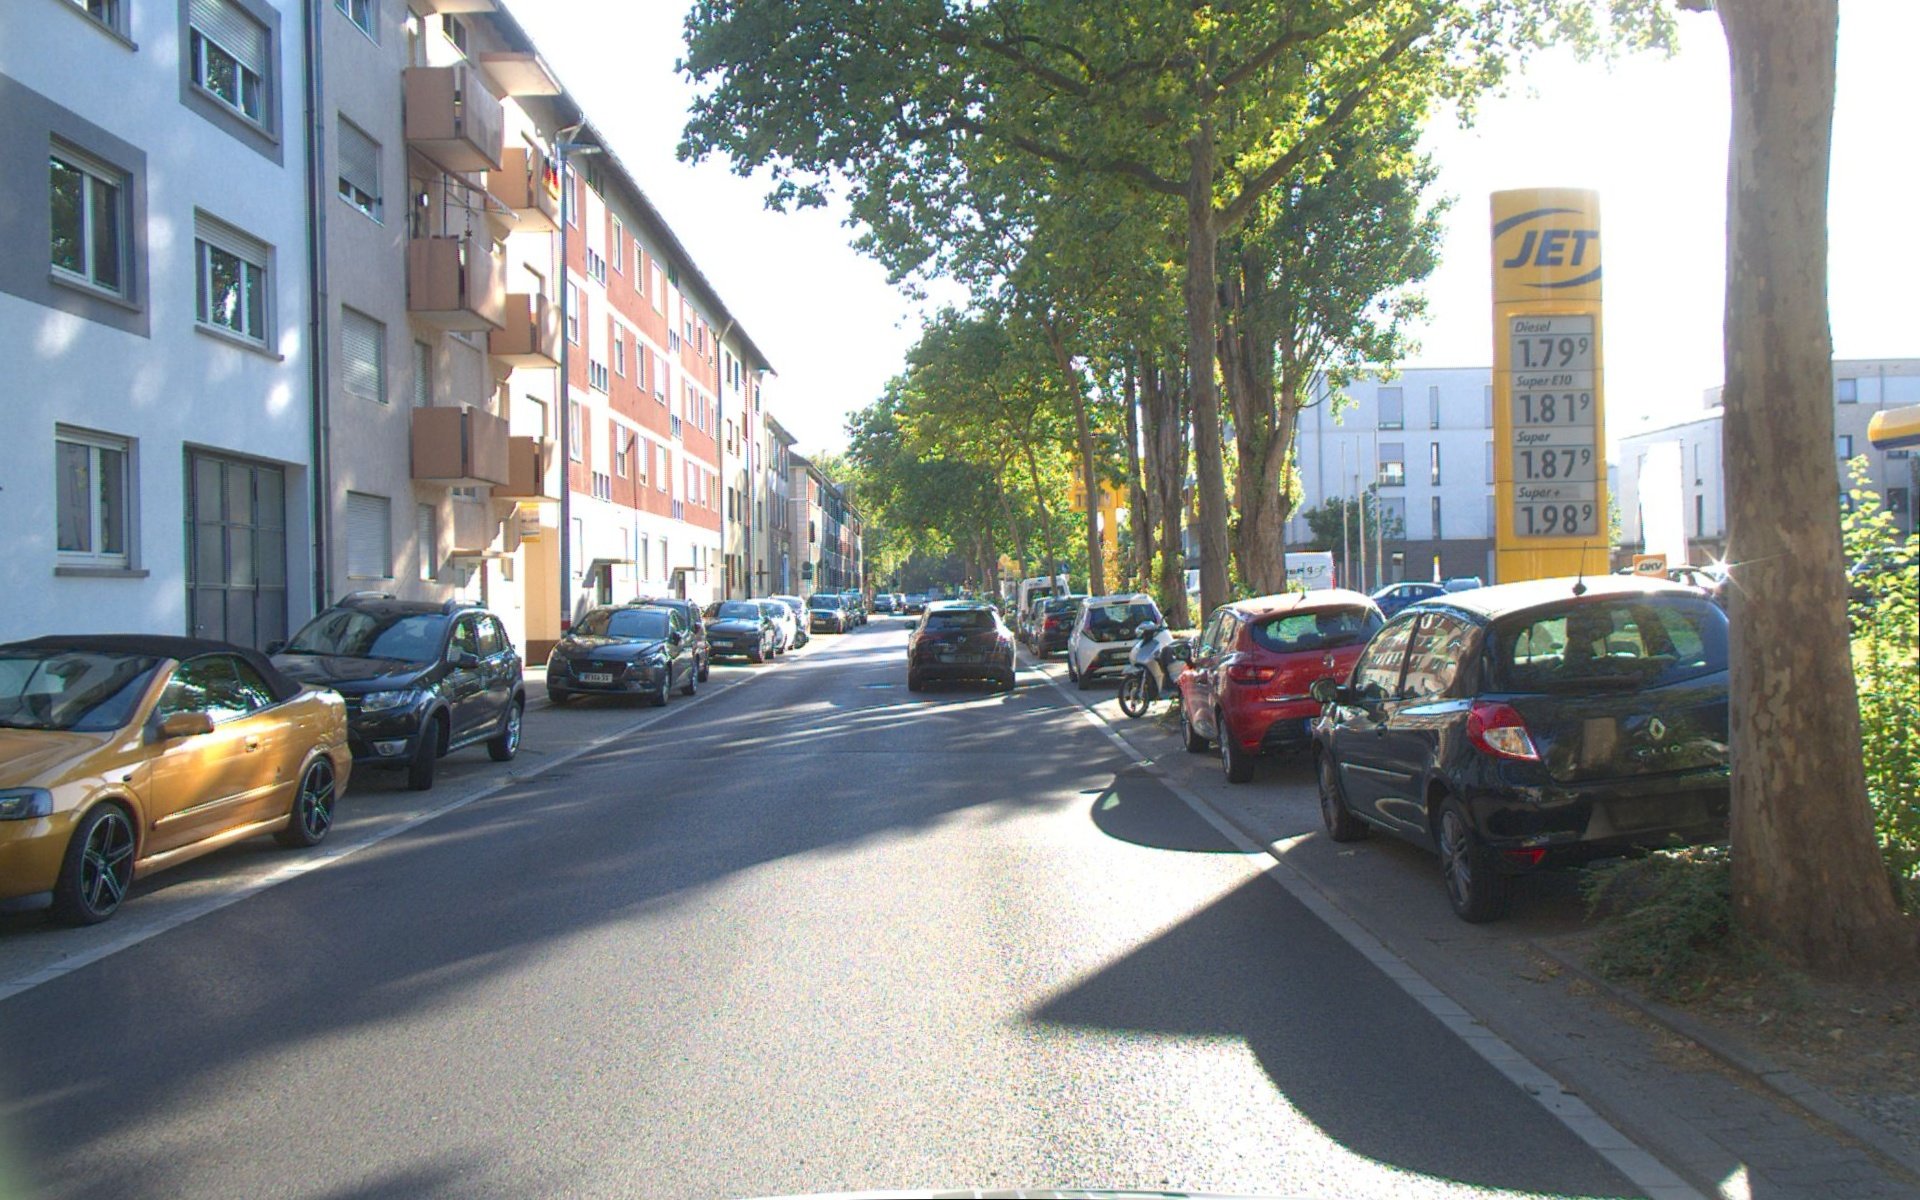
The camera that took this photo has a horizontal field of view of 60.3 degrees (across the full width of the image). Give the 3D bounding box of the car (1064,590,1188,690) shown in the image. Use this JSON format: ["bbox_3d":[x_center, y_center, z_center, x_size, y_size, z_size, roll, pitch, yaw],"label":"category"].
[{"bbox_3d":[2.750,0.643,28.113,1.687,1.585,3.600,0,0,-1],"label":"car"}]

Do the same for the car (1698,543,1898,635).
[{"bbox_3d":[17.369,-0.231,34.263,3.781,1.741,1.824,-2,0,-28],"label":"car"}]

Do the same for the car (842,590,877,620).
[{"bbox_3d":[-5.614,0.278,92.663,1.677,1.589,3.801,2,0,0],"label":"car"}]

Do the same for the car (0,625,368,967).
[{"bbox_3d":[-5.033,0.926,9.661,1.563,1.459,4.217,0,0,1],"label":"car"}]

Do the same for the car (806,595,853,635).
[{"bbox_3d":[-5.602,0.618,71.370,1.677,1.589,3.801,2,0,0],"label":"car"}]

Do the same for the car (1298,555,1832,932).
[{"bbox_3d":[2.992,0.630,8.960,1.528,1.624,3.600,0,0,-1],"label":"car"}]

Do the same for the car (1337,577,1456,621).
[{"bbox_3d":[16.078,-0.027,61.042,3.906,1.556,1.806,-1,-1,-2],"label":"car"}]

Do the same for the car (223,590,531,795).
[{"bbox_3d":[-5.246,0.742,15.404,1.564,1.658,3.837,0,0,-1],"label":"car"}]

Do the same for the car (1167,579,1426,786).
[{"bbox_3d":[2.882,0.662,14.847,1.528,1.624,3.600,0,0,-1],"label":"car"}]

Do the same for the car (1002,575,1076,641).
[{"bbox_3d":[2.509,0.285,53.398,1.954,2.049,3.997,-1,-1,-3],"label":"car"}]

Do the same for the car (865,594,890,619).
[{"bbox_3d":[-6.819,0.555,137.224,1.868,1.982,3.999,-1,-1,-1],"label":"car"}]

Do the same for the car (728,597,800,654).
[{"bbox_3d":[-5.860,0.736,49.782,1.677,1.589,3.801,2,0,0],"label":"car"}]

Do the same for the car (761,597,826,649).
[{"bbox_3d":[-5.439,0.724,54.337,1.677,1.589,3.801,2,0,0],"label":"car"}]

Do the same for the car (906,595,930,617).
[{"bbox_3d":[-3.352,0.491,132.576,1.863,1.690,3.999,-1,-1,-1],"label":"car"}]

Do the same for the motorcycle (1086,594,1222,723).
[{"bbox_3d":[2.454,0.726,20.881,1.618,1.585,0.607,0,-1,-22],"label":"motorcycle"}]

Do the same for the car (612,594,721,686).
[{"bbox_3d":[-5.595,0.728,31.943,1.679,1.589,3.794,2,0,-5],"label":"car"}]

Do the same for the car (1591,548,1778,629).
[{"bbox_3d":[17.112,-0.269,39.092,3.767,1.741,1.831,-2,0,-19],"label":"car"}]

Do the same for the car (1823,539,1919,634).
[{"bbox_3d":[17.593,-0.279,29.891,3.781,1.616,1.683,-2,0,-28],"label":"car"}]

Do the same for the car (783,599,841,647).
[{"bbox_3d":[-5.264,0.789,59.352,1.677,1.589,3.801,2,0,0],"label":"car"}]

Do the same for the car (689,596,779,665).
[{"bbox_3d":[-5.655,0.730,41.723,1.677,1.589,3.801,2,0,0],"label":"car"}]

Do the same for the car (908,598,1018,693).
[{"bbox_3d":[0.113,0.717,28.194,1.708,1.469,3.970,0,0,2],"label":"car"}]

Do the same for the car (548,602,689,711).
[{"bbox_3d":[-5.275,0.827,25.936,1.679,1.490,3.794,2,0,-5],"label":"car"}]

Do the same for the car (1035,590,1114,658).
[{"bbox_3d":[2.748,0.568,40.172,1.600,1.585,3.600,0,0,-1],"label":"car"}]
